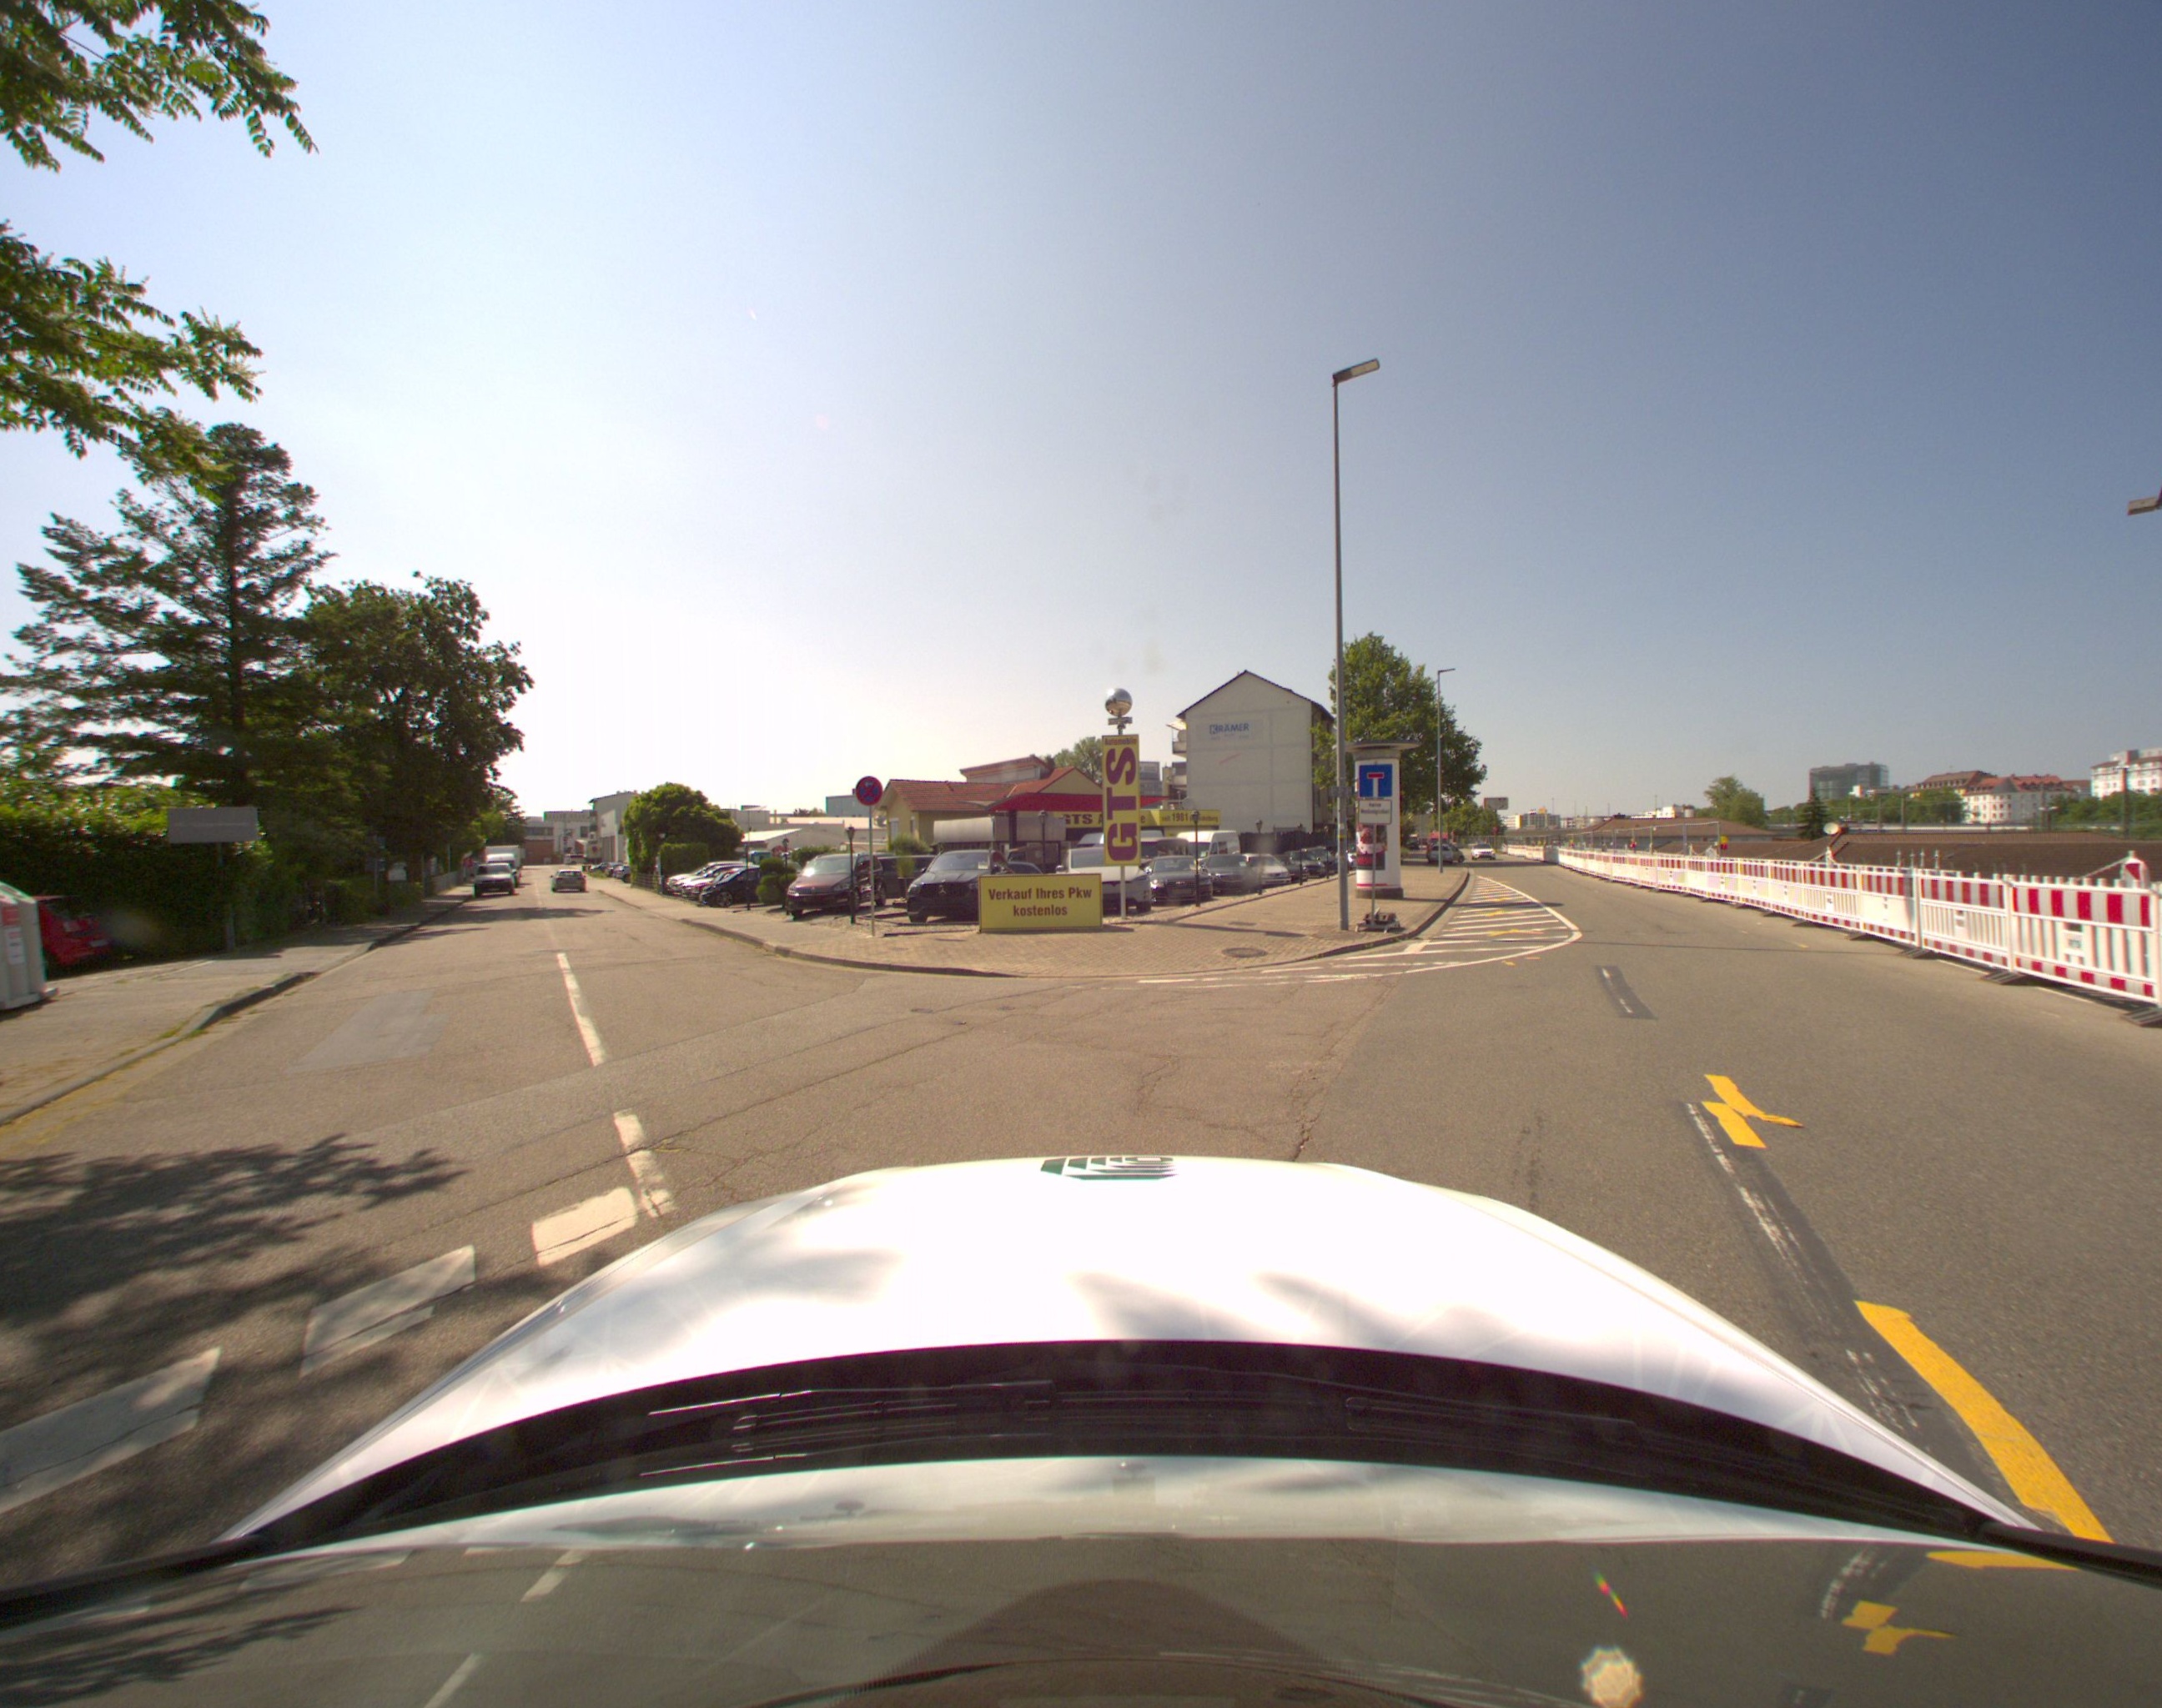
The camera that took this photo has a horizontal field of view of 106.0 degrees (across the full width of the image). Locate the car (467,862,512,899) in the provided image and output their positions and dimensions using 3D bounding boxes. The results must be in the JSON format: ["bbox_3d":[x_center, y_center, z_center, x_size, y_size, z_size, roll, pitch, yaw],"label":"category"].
[{"bbox_3d":[-35.477,1.581,48.947,2.049,2.056,3.957,-1,-1,-34],"label":"car"}]

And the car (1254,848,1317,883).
[{"bbox_3d":[9.545,0.543,38.247,1.664,1.473,3.994,-3,-1,-4],"label":"car"}]

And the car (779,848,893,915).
[{"bbox_3d":[-6.881,0.723,23.350,1.798,1.656,4.316,-2,0,2],"label":"car"}]

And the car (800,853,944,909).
[{"bbox_3d":[-7.497,0.937,29.712,4.879,1.842,2.154,-1,0,-12],"label":"car"}]

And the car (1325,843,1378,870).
[{"bbox_3d":[16.297,0.148,49.304,1.771,1.473,3.998,-3,0,-1],"label":"car"}]

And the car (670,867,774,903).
[{"bbox_3d":[-16.807,1.398,38.177,4.139,1.489,1.849,-1,0,-37],"label":"car"}]

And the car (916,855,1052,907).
[{"bbox_3d":[-3.289,0.872,28.441,1.890,1.575,4.717,-1,0,39],"label":"car"}]

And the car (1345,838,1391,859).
[{"bbox_3d":[26.385,-0.514,74.916,3.891,1.958,1.768,0,1,19],"label":"car"}]

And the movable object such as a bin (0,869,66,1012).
[{"bbox_3d":[-12.635,1.003,8.917,1.462,1.526,1.755,-4,0,-38],"label":"movable object such as a bin"}]

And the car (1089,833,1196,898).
[{"bbox_3d":[2.518,0.469,32.077,2.224,2.350,4.853,-2,-1,31],"label":"car"}]

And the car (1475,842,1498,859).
[{"bbox_3d":[36.267,-0.295,72.932,1.701,1.415,4.101,-1,0,25],"label":"car"}]

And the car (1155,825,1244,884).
[{"bbox_3d":[5.599,0.017,37.681,2.225,2.430,5.753,3,1,27],"label":"car"}]

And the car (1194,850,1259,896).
[{"bbox_3d":[5.207,0.655,29.585,1.828,1.473,4.004,-3,-1,4],"label":"car"}]

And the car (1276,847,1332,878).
[{"bbox_3d":[11.544,0.433,42.400,1.662,1.473,3.998,-3,-1,-1],"label":"car"}]

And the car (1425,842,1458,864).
[{"bbox_3d":[27.198,-0.092,61.308,1.851,1.498,4.057,-2,1,29],"label":"car"}]

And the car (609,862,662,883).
[{"bbox_3d":[-38.914,1.569,71.151,3.856,1.763,1.836,0,0,-34],"label":"car"}]

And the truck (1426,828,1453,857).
[{"bbox_3d":[34.921,-1.084,79.226,2.217,2.648,5.714,-1,-1,25],"label":"truck"}]

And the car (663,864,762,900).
[{"bbox_3d":[-18.222,1.348,40.346,4.144,1.603,1.849,-1,0,-37],"label":"car"}]

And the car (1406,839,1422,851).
[{"bbox_3d":[54.744,-1.421,133.893,1.919,1.834,3.948,3,1,28],"label":"car"}]

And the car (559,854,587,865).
[{"bbox_3d":[-92.690,1.060,148.666,4.021,1.909,1.793,0,1,-41],"label":"car"}]

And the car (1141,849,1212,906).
[{"bbox_3d":[2.791,0.683,24.662,1.828,1.473,4.003,-4,-1,3],"label":"car"}]

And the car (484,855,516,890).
[{"bbox_3d":[-43.870,1.382,61.598,1.845,2.504,3.957,-1,0,-34],"label":"car"}]

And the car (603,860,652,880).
[{"bbox_3d":[-42.360,1.495,76.088,3.856,1.763,1.764,0,0,-34],"label":"car"}]

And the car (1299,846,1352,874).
[{"bbox_3d":[13.917,0.349,46.523,1.662,1.473,3.997,-3,-1,-1],"label":"car"}]

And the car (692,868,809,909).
[{"bbox_3d":[-13.648,1.370,33.738,4.152,1.489,1.849,-1,0,-37],"label":"car"}]

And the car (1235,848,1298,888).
[{"bbox_3d":[7.800,0.591,34.617,1.773,1.473,4.000,-4,-1,1],"label":"car"}]

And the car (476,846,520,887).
[{"bbox_3d":[-50.482,1.077,70.657,2.827,3.317,7.699,-1,0,-34],"label":"car"}]

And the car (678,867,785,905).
[{"bbox_3d":[-15.498,1.366,36.196,4.077,1.489,1.778,-1,0,-37],"label":"car"}]

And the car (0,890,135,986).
[{"bbox_3d":[-19.059,1.526,13.865,3.419,1.465,1.677,-4,1,-31],"label":"car"}]

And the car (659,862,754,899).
[{"bbox_3d":[-19.495,1.338,42.416,4.191,1.750,1.871,-1,0,-37],"label":"car"}]

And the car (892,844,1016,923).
[{"bbox_3d":[-2.981,0.706,20.113,2.033,1.707,4.319,-2,-2,4],"label":"car"}]

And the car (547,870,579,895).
[{"bbox_3d":[-34.006,1.837,53.441,1.689,1.493,4.557,-1,0,-34],"label":"car"}]

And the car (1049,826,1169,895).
[{"bbox_3d":[1.364,0.271,35.637,2.254,2.758,6.192,-2,-1,33],"label":"car"}]

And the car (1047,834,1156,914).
[{"bbox_3d":[0.374,0.563,20.472,1.974,1.707,4.650,-2,-3,-8],"label":"car"}]

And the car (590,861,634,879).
[{"bbox_3d":[-49.162,1.657,85.349,3.856,1.763,1.764,0,0,-34],"label":"car"}]

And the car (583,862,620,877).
[{"bbox_3d":[-59.543,1.895,101.136,3.888,1.763,1.805,0,0,-34],"label":"car"}]

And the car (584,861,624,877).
[{"bbox_3d":[-54.168,1.731,92.473,3.856,1.763,1.764,0,0,-34],"label":"car"}]

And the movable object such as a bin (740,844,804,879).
[{"bbox_3d":[-26.845,0.646,70.725,4.850,2.907,1.980,-1,0,-32],"label":"movable object such as a bin"}]

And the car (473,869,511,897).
[{"bbox_3d":[-38.176,1.817,52.879,1.845,1.692,3.957,-1,0,-34],"label":"car"}]
